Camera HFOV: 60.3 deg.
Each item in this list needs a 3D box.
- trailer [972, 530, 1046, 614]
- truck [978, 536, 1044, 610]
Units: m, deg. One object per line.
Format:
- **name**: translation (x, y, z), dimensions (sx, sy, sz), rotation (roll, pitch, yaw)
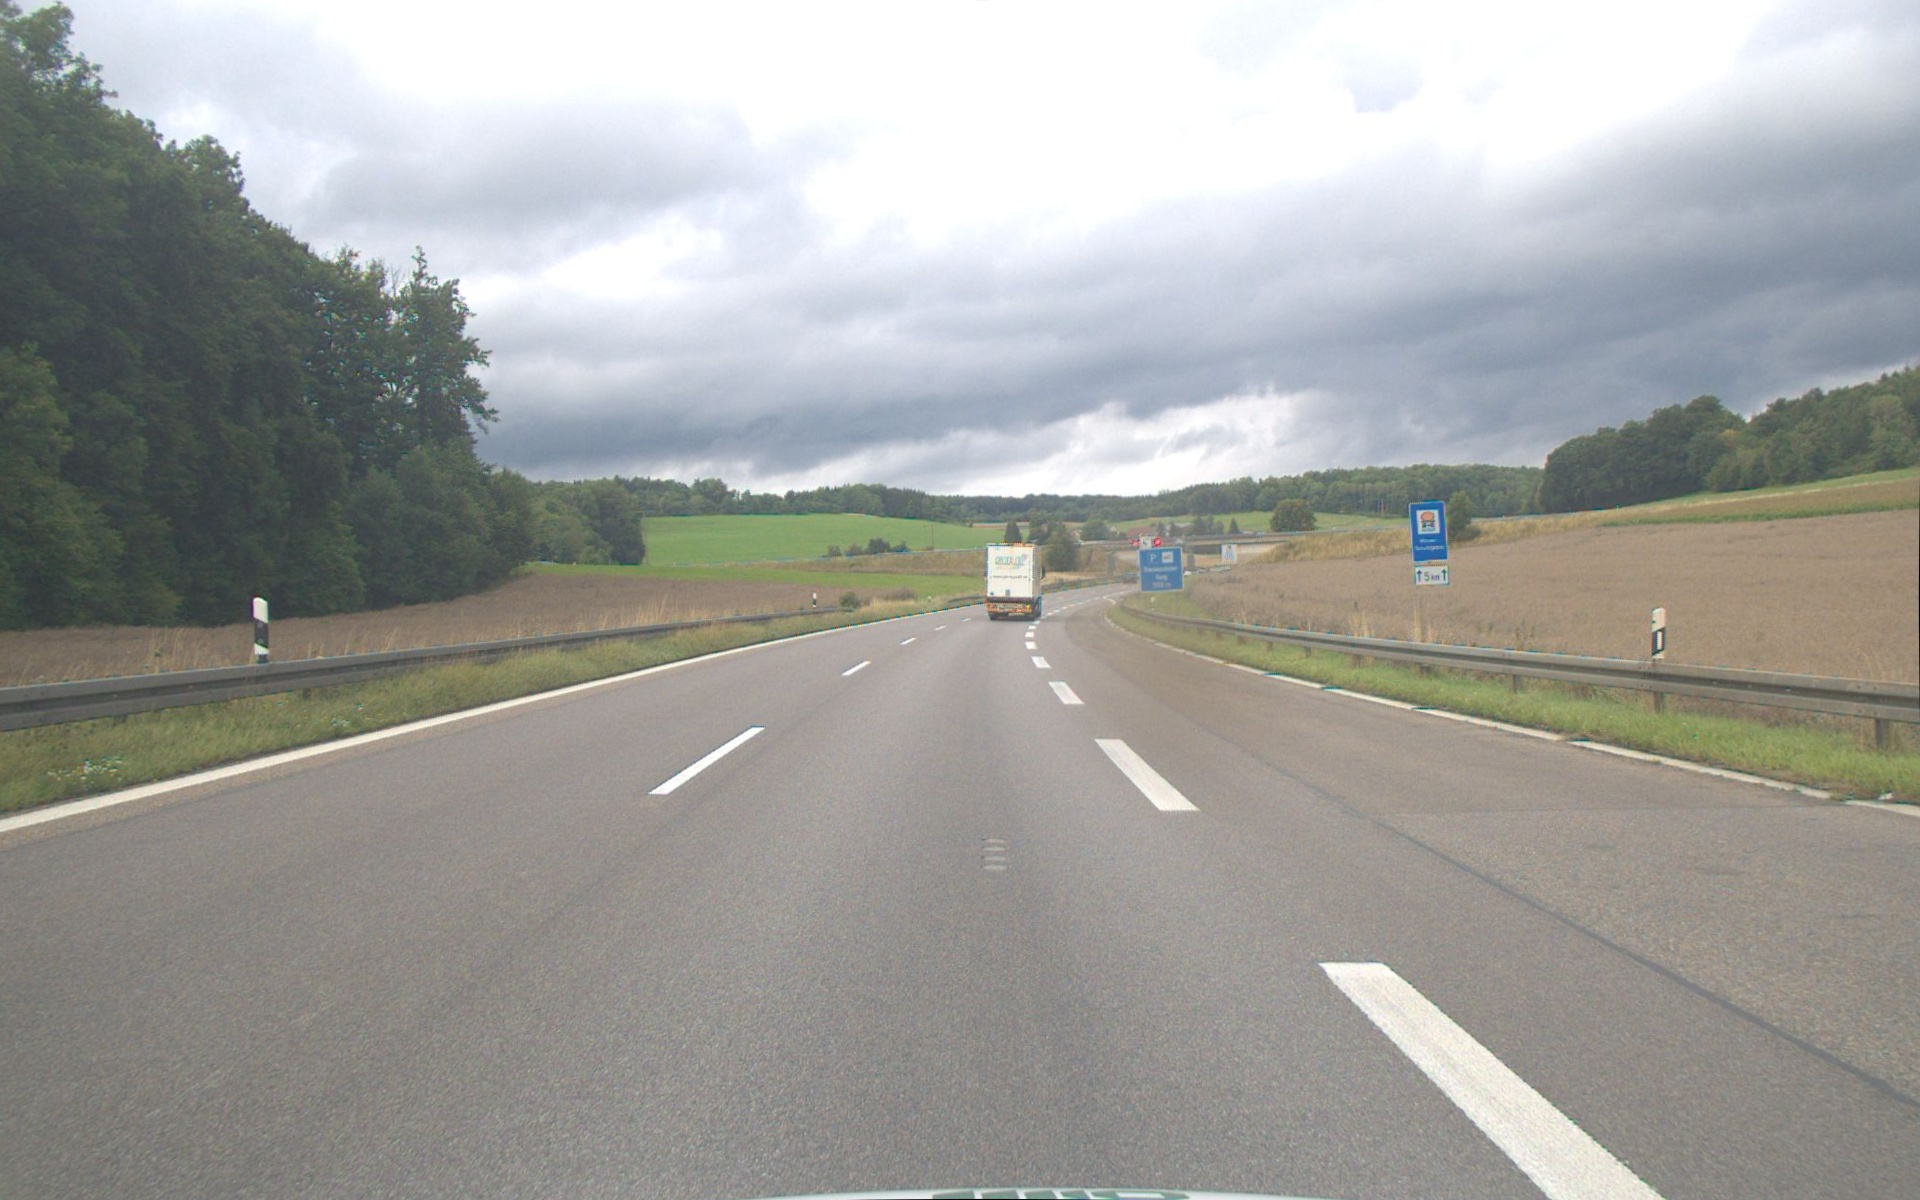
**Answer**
- **trailer**: translation (2.803, -1.492, 92.161), dimensions (3.726, 4.247, 14.813), rotation (-1, 0, 2)
- **truck**: translation (3.086, -1.557, 98.828), dimensions (3.709, 4.204, 8.267), rotation (-1, 0, 2)
